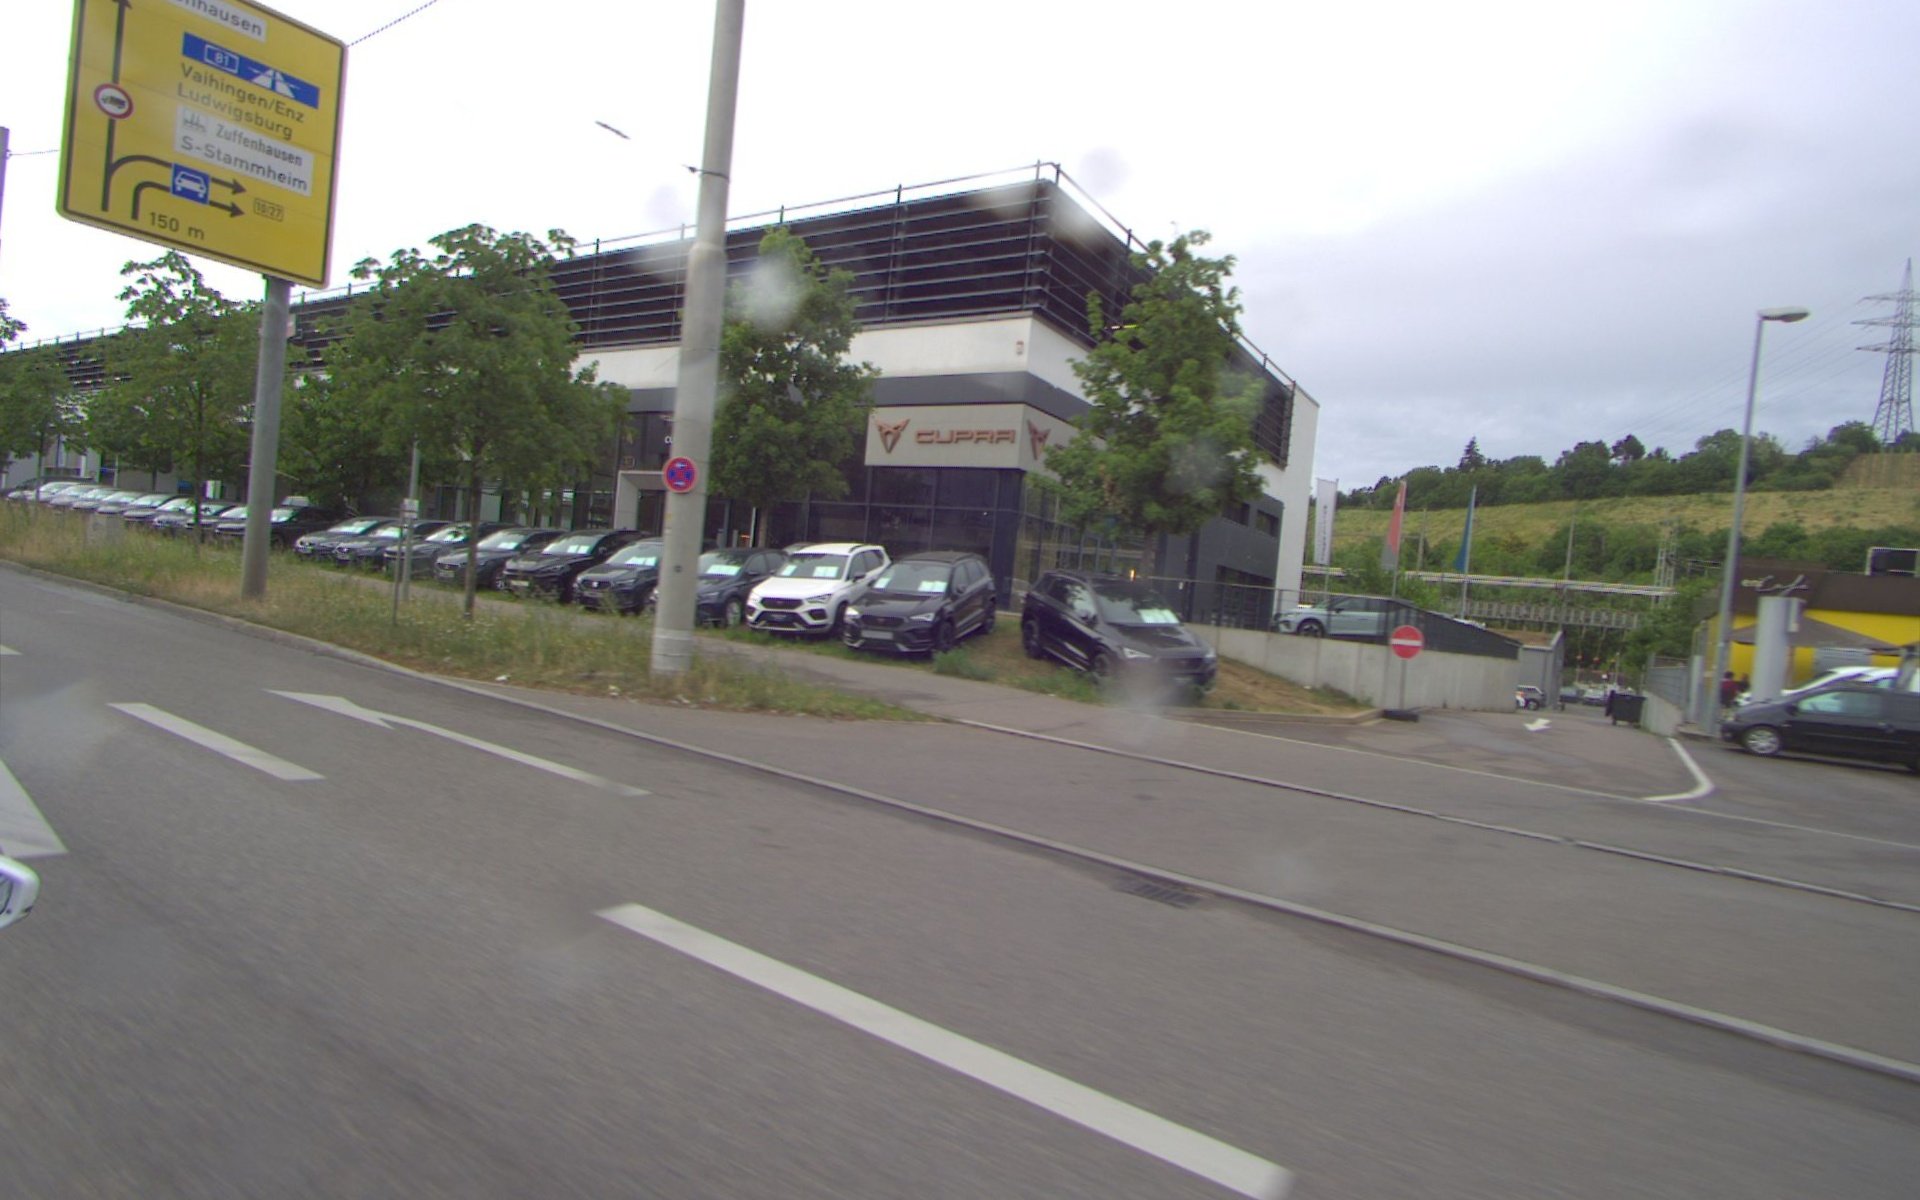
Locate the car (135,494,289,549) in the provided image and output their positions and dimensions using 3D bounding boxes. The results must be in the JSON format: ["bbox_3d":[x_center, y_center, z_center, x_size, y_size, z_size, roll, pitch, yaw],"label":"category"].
[{"bbox_3d":[-26.454,-2.738,35.755,1.760,1.478,4.150,6,2,14],"label":"car"}]

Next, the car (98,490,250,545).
[{"bbox_3d":[-28.854,-2.987,37.102,1.796,1.548,4.150,6,2,14],"label":"car"}]

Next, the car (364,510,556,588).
[{"bbox_3d":[-13.327,-1.302,27.148,1.788,1.685,4.494,6,2,22],"label":"car"}]

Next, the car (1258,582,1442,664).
[{"bbox_3d":[10.731,0.615,27.893,4.236,1.665,1.844,7,1,1],"label":"car"}]

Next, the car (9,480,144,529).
[{"bbox_3d":[-38.056,-4.076,43.458,1.834,1.582,4.150,6,2,7],"label":"car"}]

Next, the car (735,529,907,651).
[{"bbox_3d":[-2.639,-0.195,20.313,1.786,2.018,4.498,6,2,13],"label":"car"}]

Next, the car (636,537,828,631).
[{"bbox_3d":[-4.721,-0.302,21.595,1.787,1.659,4.496,6,2,19],"label":"car"}]

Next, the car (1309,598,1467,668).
[{"bbox_3d":[13.849,1.050,32.796,4.233,1.665,1.845,7,1,8],"label":"car"}]

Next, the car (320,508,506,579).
[{"bbox_3d":[-15.503,-1.563,28.814,1.788,1.590,4.494,6,2,22],"label":"car"}]

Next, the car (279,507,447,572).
[{"bbox_3d":[-17.633,-1.737,29.915,1.656,1.521,4.052,6,2,22],"label":"car"}]

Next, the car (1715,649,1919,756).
[{"bbox_3d":[20.170,2.325,22.712,4.639,1.884,1.994,7,2,32],"label":"car"}]

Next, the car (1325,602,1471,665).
[{"bbox_3d":[15.500,1.163,35.818,4.234,1.665,1.845,7,1,6],"label":"car"}]

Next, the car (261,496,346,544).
[{"bbox_3d":[-33.227,-4.051,50.900,4.357,1.963,1.888,7,1,32],"label":"car"}]

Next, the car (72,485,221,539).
[{"bbox_3d":[-31.092,-3.312,38.620,1.873,1.590,4.151,6,2,11],"label":"car"}]

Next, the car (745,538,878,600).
[{"bbox_3d":[-4.702,-0.996,31.789,3.835,1.491,1.780,7,1,32],"label":"car"}]

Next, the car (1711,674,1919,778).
[{"bbox_3d":[15.381,2.193,17.594,3.435,1.355,1.390,6,2,35],"label":"car"}]

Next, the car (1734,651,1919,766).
[{"bbox_3d":[18.670,2.235,20.206,4.642,1.884,1.993,7,2,34],"label":"car"}]

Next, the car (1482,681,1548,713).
[{"bbox_3d":[39.496,6.903,71.596,3.934,1.674,1.827,7,0,32],"label":"car"}]

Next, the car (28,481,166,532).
[{"bbox_3d":[-35.723,-3.819,41.790,1.792,1.626,4.151,6,2,9],"label":"car"}]

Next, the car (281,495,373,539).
[{"bbox_3d":[-37.064,-4.817,58.960,1.913,2.001,4.028,7,1,33],"label":"car"}]

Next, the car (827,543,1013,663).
[{"bbox_3d":[-0.588,0.050,18.802,1.844,1.813,4.386,6,2,19],"label":"car"}]

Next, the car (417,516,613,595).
[{"bbox_3d":[-11.293,-1.071,25.889,1.788,1.640,4.492,6,2,24],"label":"car"}]

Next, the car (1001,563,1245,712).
[{"bbox_3d":[2.497,0.499,16.692,1.852,1.841,4.363,5,3,-22],"label":"car"}]

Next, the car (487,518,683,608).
[{"bbox_3d":[-8.926,-0.808,24.389,1.788,1.819,4.494,6,2,22],"label":"car"}]

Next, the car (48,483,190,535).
[{"bbox_3d":[-33.452,-3.577,40.178,1.792,1.590,4.151,6,2,9],"label":"car"}]

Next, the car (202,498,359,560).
[{"bbox_3d":[-21.851,-2.232,32.566,1.700,1.597,4.055,6,2,14],"label":"car"}]

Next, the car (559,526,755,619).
[{"bbox_3d":[-6.757,-0.564,22.995,1.788,1.775,4.494,6,2,22],"label":"car"}]

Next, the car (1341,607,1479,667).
[{"bbox_3d":[17.012,1.384,38.165,4.236,1.665,1.844,7,1,1],"label":"car"}]

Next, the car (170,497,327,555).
[{"bbox_3d":[-24.027,-2.457,34.146,1.760,1.554,4.150,6,2,14],"label":"car"}]
